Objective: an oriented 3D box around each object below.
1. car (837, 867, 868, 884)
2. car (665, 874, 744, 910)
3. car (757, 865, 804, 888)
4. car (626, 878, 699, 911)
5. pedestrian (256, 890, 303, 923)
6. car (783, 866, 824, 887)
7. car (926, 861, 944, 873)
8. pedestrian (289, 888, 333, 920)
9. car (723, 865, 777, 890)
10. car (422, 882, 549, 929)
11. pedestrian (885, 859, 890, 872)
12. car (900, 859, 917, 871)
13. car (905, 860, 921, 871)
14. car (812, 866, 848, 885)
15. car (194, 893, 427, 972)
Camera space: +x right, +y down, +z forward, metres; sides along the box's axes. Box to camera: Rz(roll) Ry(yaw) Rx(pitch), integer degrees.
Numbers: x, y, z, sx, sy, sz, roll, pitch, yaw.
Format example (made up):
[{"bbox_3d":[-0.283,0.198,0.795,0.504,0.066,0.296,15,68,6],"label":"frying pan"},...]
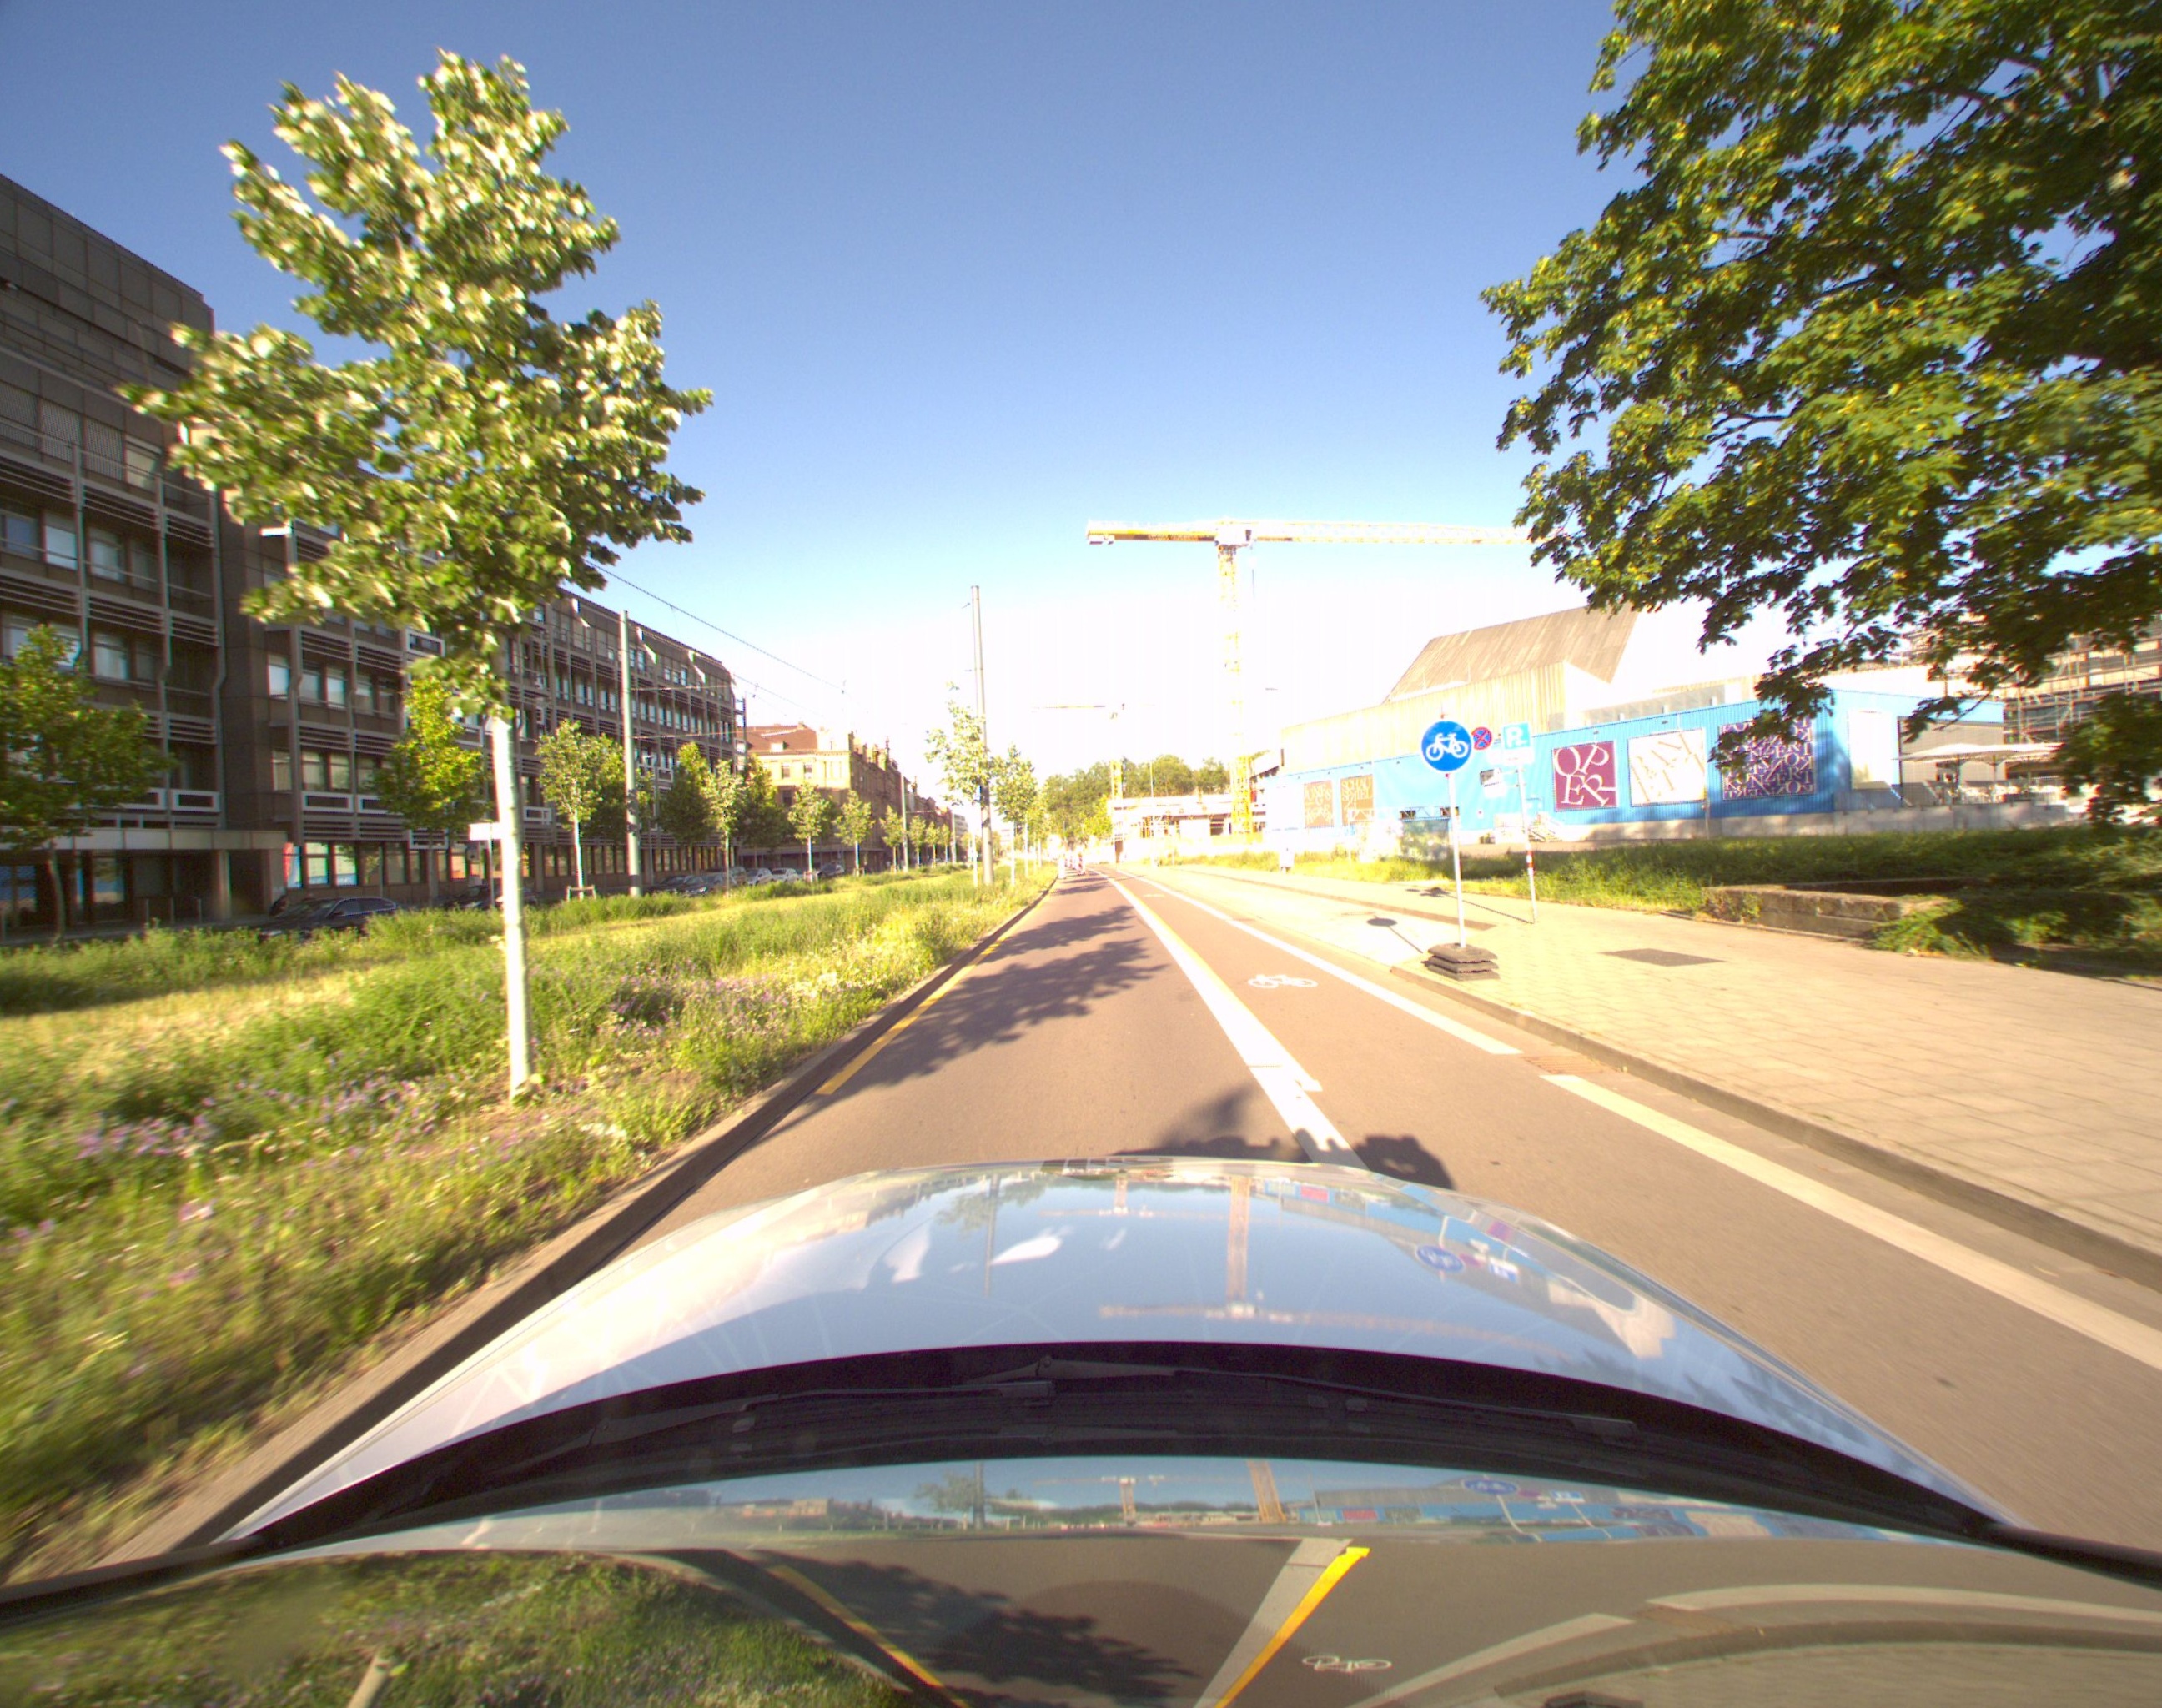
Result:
[{"bbox_3d":[-23.990,2.248,85.615,1.896,1.575,4.302,-3,0,1],"label":"car"},{"bbox_3d":[-19.353,1.909,42.096,1.896,1.575,4.302,-3,0,1],"label":"car"},{"bbox_3d":[-23.556,1.741,64.067,1.896,1.575,4.302,-3,0,1],"label":"car"},{"bbox_3d":[-24.410,2.342,47.702,1.896,1.575,4.302,-3,0,1],"label":"car"},{"bbox_3d":[-31.364,2.044,31.872,0.897,1.169,0.866,-3,0,1],"label":"pedestrian"},{"bbox_3d":[-23.758,1.886,69.931,1.896,1.575,4.302,-3,0,1],"label":"car"},{"bbox_3d":[-20.256,1.784,113.148,1.901,1.575,4.293,-3,0,-5],"label":"car"},{"bbox_3d":[-31.236,2.025,33.048,0.896,1.169,0.900,-3,0,3],"label":"pedestrian"},{"bbox_3d":[-23.598,1.662,58.180,1.896,1.575,4.302,-3,0,1],"label":"car"},{"bbox_3d":[-24.308,2.061,33.478,1.896,1.575,4.302,-3,0,1],"label":"car"},{"bbox_3d":[-28.316,1.705,119.323,0.549,1.947,0.649,-3,0,-6],"label":"pedestrian"},{"bbox_3d":[-25.419,1.574,119.883,1.901,1.575,4.293,-3,0,-5],"label":"car"},{"bbox_3d":[-25.740,1.768,124.793,1.901,1.575,4.293,-3,0,-5],"label":"car"},{"bbox_3d":[-23.886,2.065,77.532,1.896,1.575,4.302,-3,0,1],"label":"car"},{"bbox_3d":[-20.354,2.006,21.845,1.896,1.575,4.412,-3,0,1],"label":"car"}]
